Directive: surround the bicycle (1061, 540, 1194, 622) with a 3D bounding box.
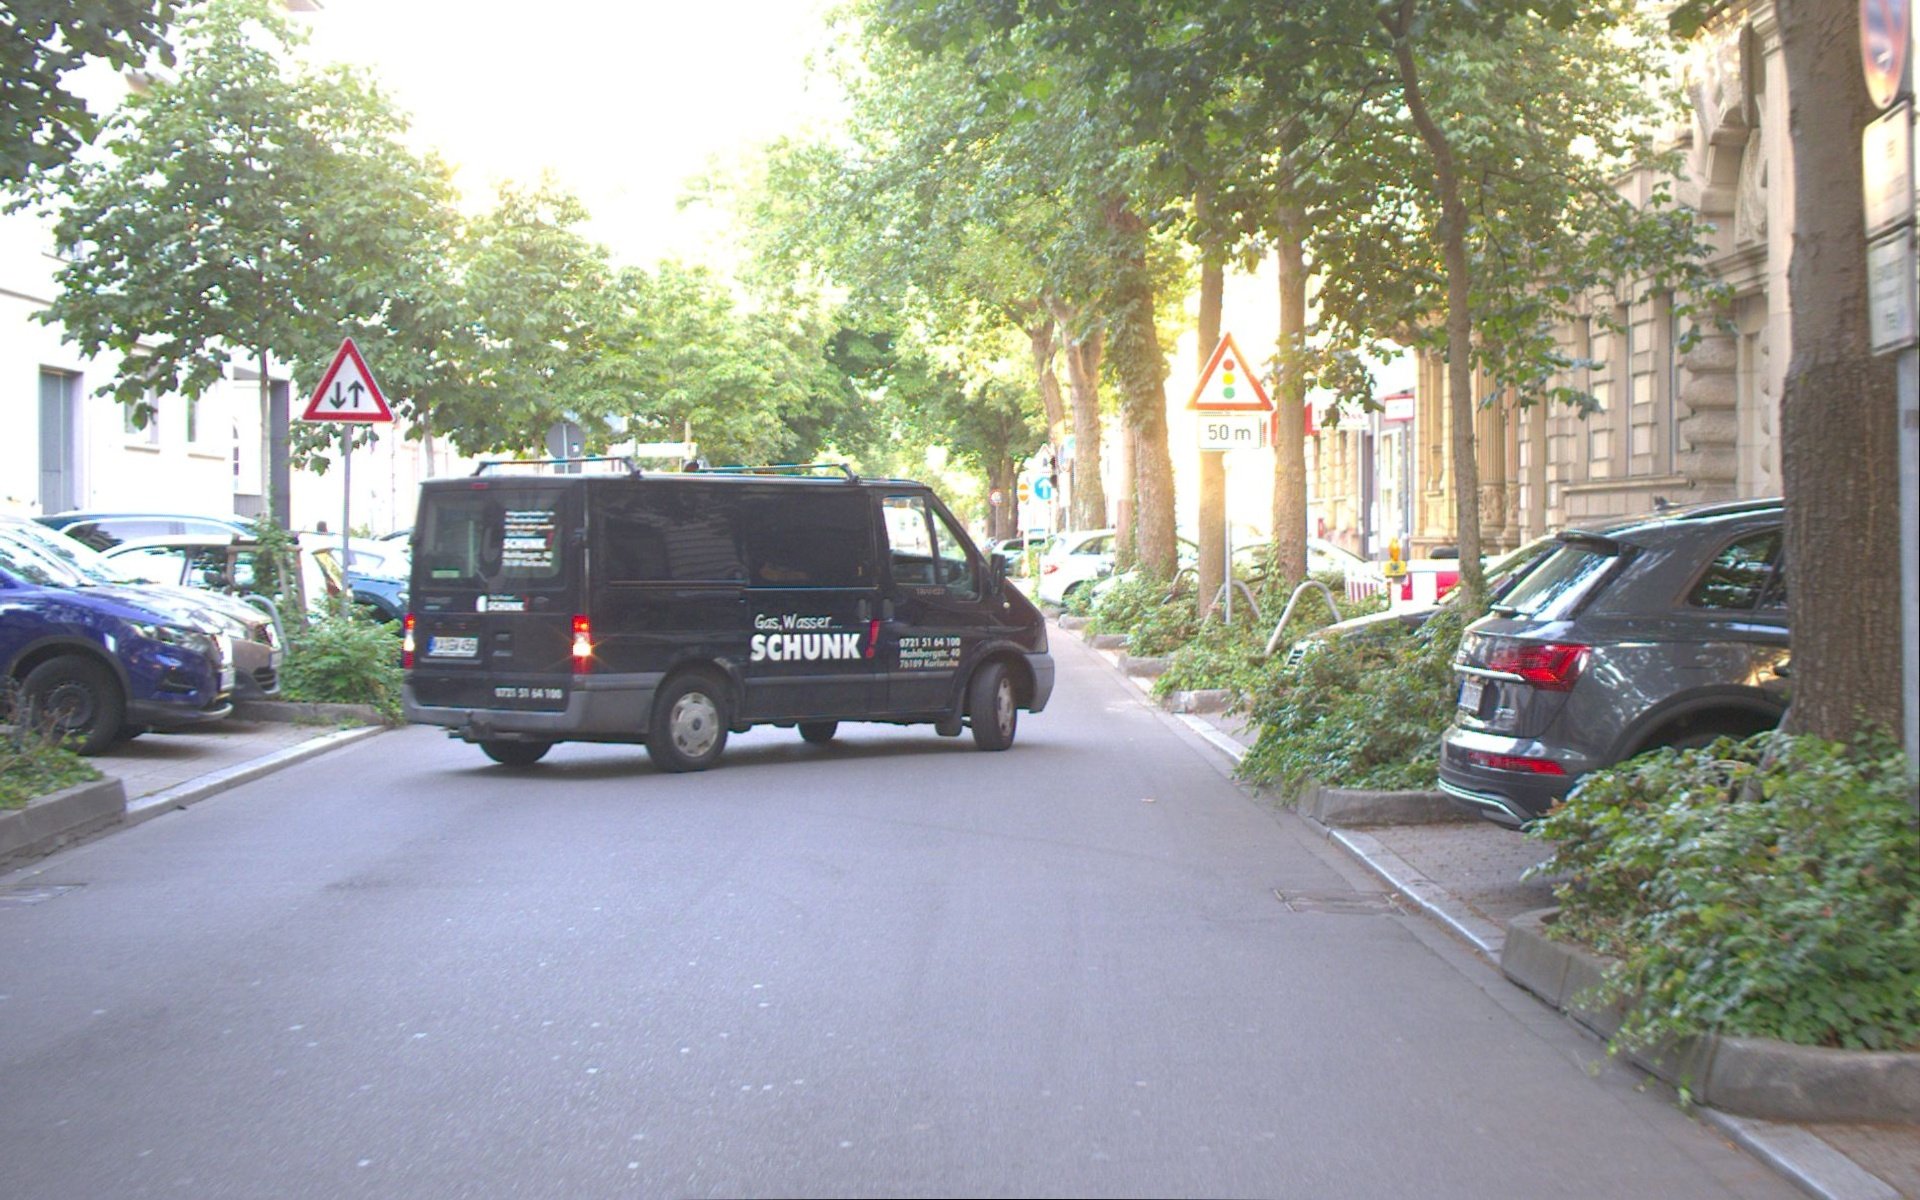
[{"bbox_3d":[2.675,-0.308,54.874,2.019,1.200,0.488,-3,1,-13],"label":"bicycle"}]

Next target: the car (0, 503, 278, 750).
[{"bbox_3d":[-7.084,0.098,23.640,4.354,1.567,1.931,2,1,0],"label":"car"}]

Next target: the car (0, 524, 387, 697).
[{"bbox_3d":[-7.286,0.069,31.238,3.845,1.446,1.855,1,2,0],"label":"car"}]

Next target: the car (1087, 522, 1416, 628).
[{"bbox_3d":[4.133,-0.375,49.354,4.583,1.432,1.925,-1,1,2],"label":"car"}]

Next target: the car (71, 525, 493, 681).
[{"bbox_3d":[-7.108,0.005,36.284,4.029,1.489,1.780,2,1,3],"label":"car"}]

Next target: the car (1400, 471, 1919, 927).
[{"bbox_3d":[4.205,0.334,14.300,4.440,1.712,1.968,-2,0,0],"label":"car"}]

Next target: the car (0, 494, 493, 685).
[{"bbox_3d":[-7.075,-0.127,33.872,4.665,1.759,2.157,1,1,-1],"label":"car"}]

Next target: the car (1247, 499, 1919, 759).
[{"bbox_3d":[4.181,0.169,23.364,4.223,1.476,1.855,-3,1,0],"label":"car"}]

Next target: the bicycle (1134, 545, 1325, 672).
[{"bbox_3d":[2.980,0.094,38.111,2.046,1.356,0.508,1,1,-2],"label":"bicycle"}]

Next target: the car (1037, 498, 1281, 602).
[{"bbox_3d":[3.858,-0.985,67.237,4.540,1.908,1.950,-1,1,-3],"label":"car"}]

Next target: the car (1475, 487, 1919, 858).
[{"bbox_3d":[4.665,0.292,16.778,4.007,1.681,1.765,-1,2,0],"label":"car"}]

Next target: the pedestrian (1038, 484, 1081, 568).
[{"bbox_3d":[2.579,-1.910,89.184,1.043,2.139,1.063,1,0,0],"label":"pedestrian"}]

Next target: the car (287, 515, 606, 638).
[{"bbox_3d":[-7.048,-0.340,47.450,4.093,1.626,1.936,1,1,1],"label":"car"}]

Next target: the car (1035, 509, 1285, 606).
[{"bbox_3d":[3.454,-0.747,59.625,4.225,1.555,1.971,-1,2,3],"label":"car"}]

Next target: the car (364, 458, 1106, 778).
[{"bbox_3d":[-1.444,0.035,23.855,2.188,1.984,4.994,1,2,43],"label":"car"}]

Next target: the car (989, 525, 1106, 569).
[{"bbox_3d":[3.196,-1.950,125.817,4.192,1.475,1.852,-2,1,0],"label":"car"}]
